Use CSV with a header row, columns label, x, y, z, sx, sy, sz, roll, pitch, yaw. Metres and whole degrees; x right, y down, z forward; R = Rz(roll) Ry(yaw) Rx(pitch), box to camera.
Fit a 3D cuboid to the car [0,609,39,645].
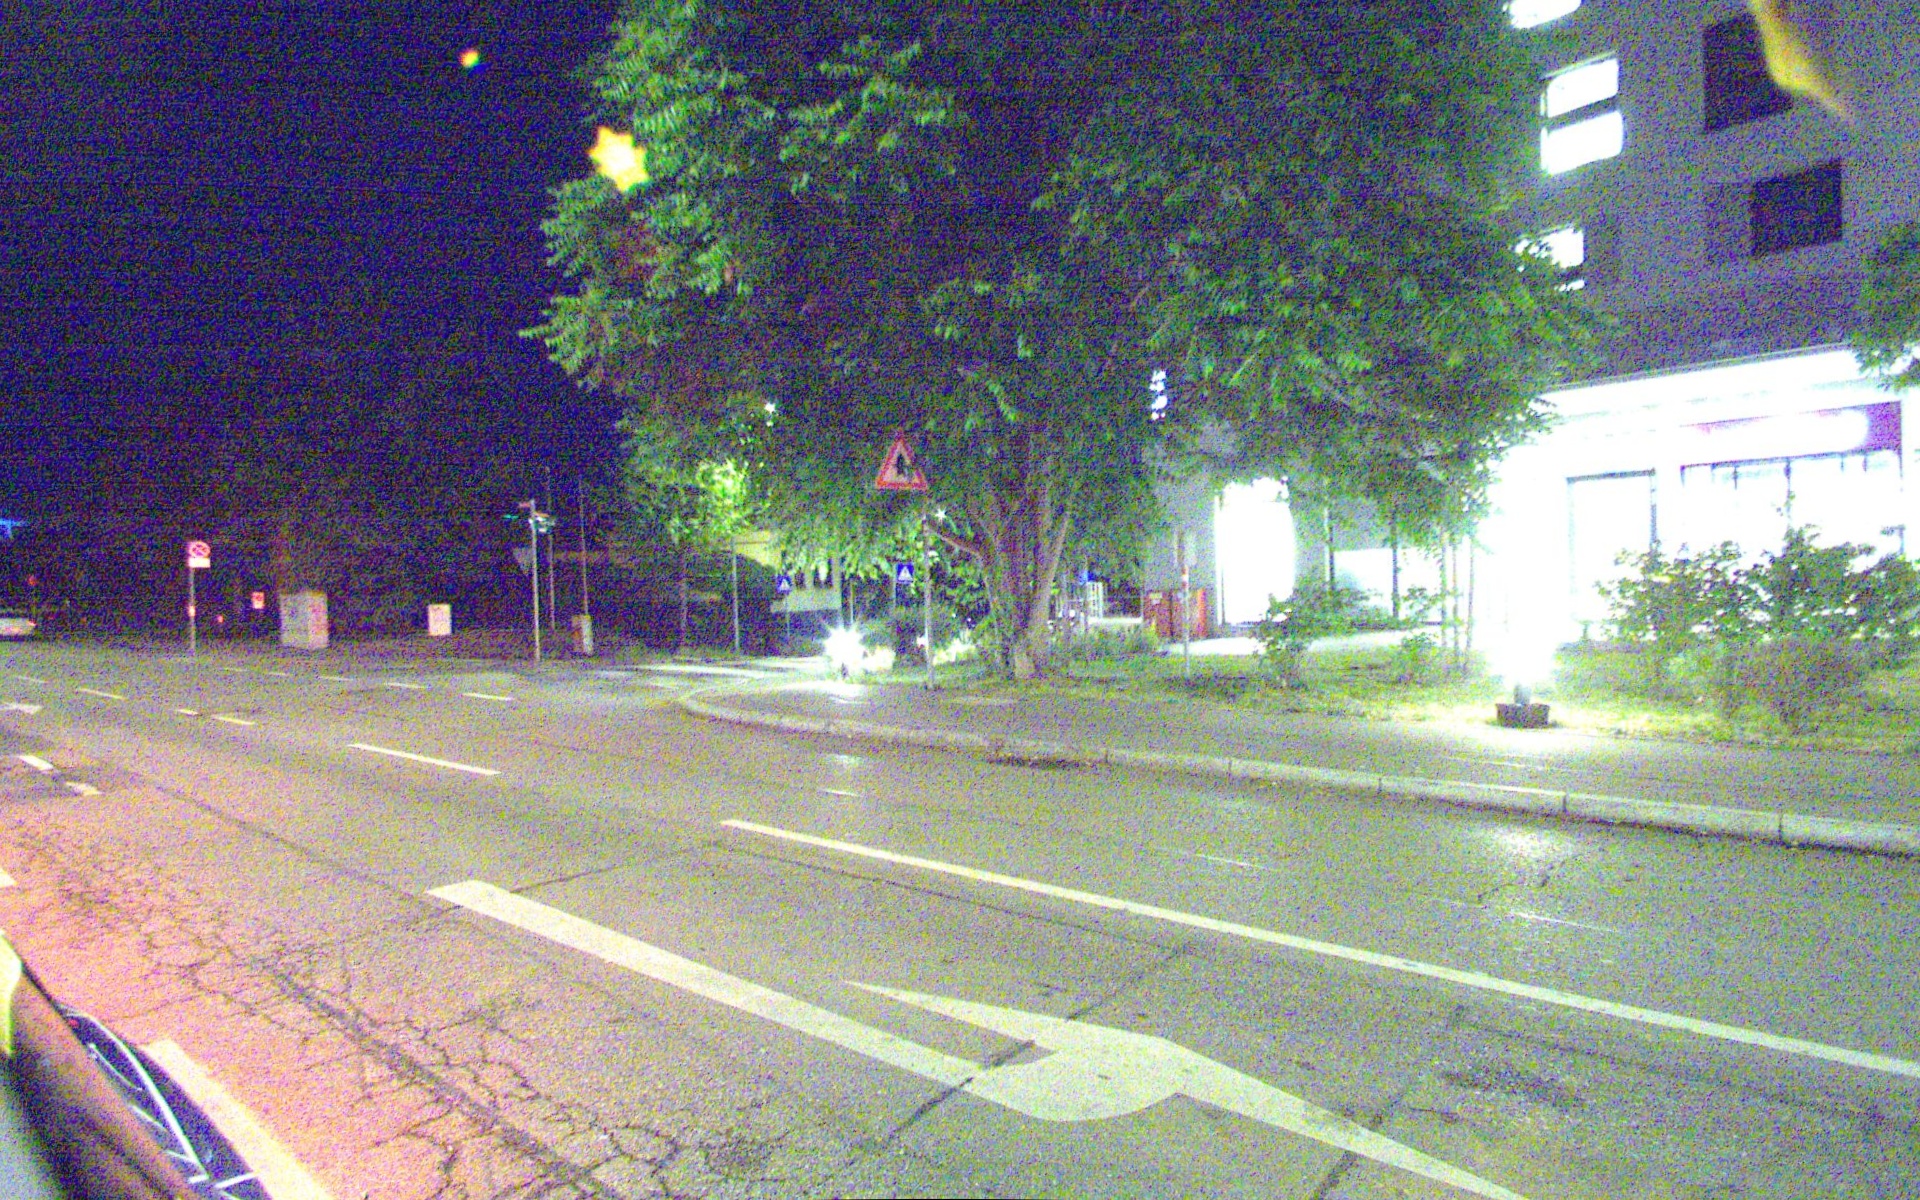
label,x,y,z,sx,sy,sz,roll,pitch,yaw
car,-43.267,1.204,45.807,3.998,1.464,1.887,1,2,41
